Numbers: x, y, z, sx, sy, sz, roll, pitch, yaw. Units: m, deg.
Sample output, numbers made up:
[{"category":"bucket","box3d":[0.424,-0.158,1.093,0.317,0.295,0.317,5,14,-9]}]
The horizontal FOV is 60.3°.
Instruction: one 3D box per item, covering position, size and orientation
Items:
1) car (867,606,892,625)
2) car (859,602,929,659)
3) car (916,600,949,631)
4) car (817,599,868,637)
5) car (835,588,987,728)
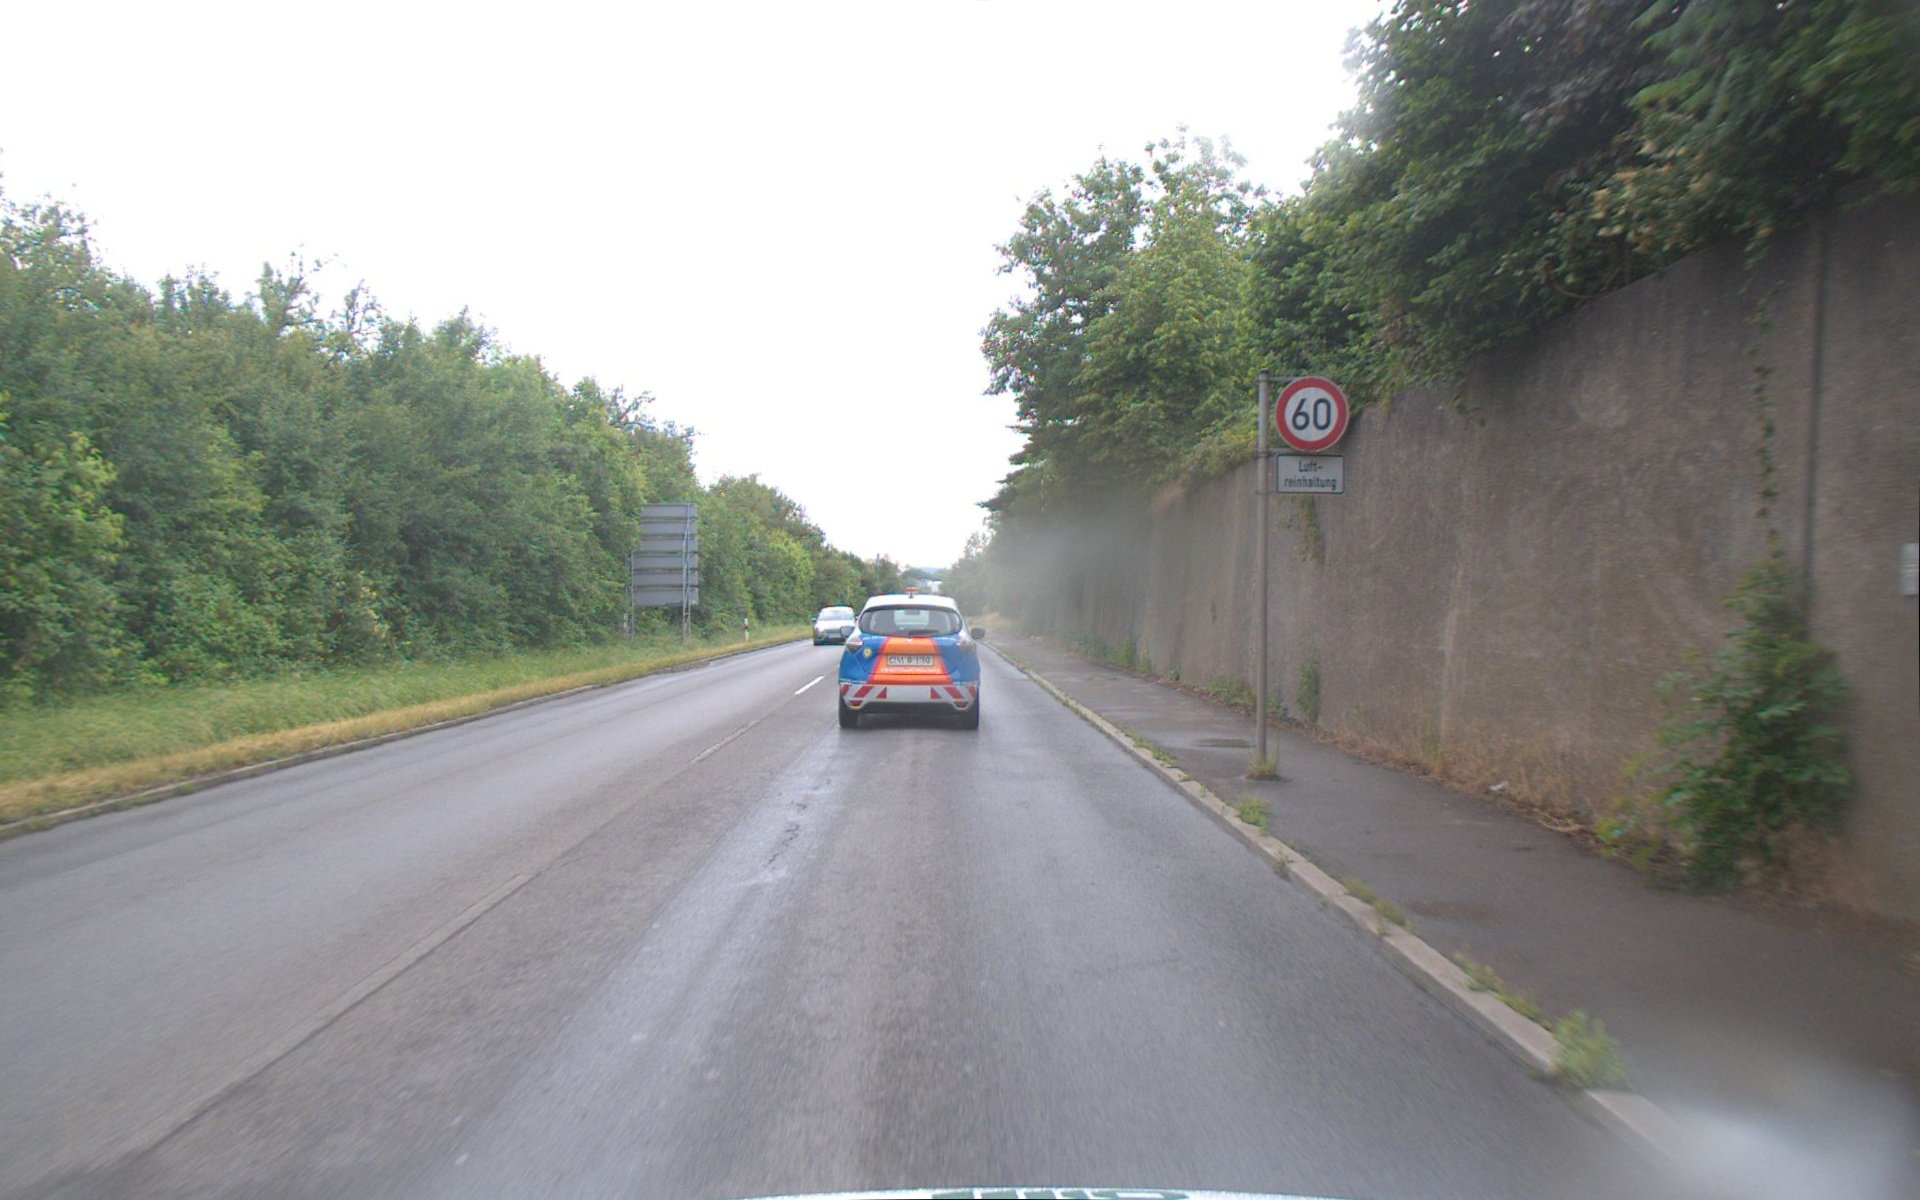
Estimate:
[{"category":"car","box3d":[-6.092,1.165,125.471,1.853,1.378,4.380,0,0,-2]},{"category":"car","box3d":[-1.590,0.743,40.801,1.566,1.309,3.475,-1,-1,0]},{"category":"car","box3d":[-1.566,0.841,93.018,1.737,1.653,3.998,-2,0,-2]},{"category":"car","box3d":[-4.697,0.690,66.500,1.788,1.445,4.319,-1,0,-1]},{"category":"car","box3d":[-0.597,0.655,20.840,1.716,1.583,3.791,1,0,-1]}]
